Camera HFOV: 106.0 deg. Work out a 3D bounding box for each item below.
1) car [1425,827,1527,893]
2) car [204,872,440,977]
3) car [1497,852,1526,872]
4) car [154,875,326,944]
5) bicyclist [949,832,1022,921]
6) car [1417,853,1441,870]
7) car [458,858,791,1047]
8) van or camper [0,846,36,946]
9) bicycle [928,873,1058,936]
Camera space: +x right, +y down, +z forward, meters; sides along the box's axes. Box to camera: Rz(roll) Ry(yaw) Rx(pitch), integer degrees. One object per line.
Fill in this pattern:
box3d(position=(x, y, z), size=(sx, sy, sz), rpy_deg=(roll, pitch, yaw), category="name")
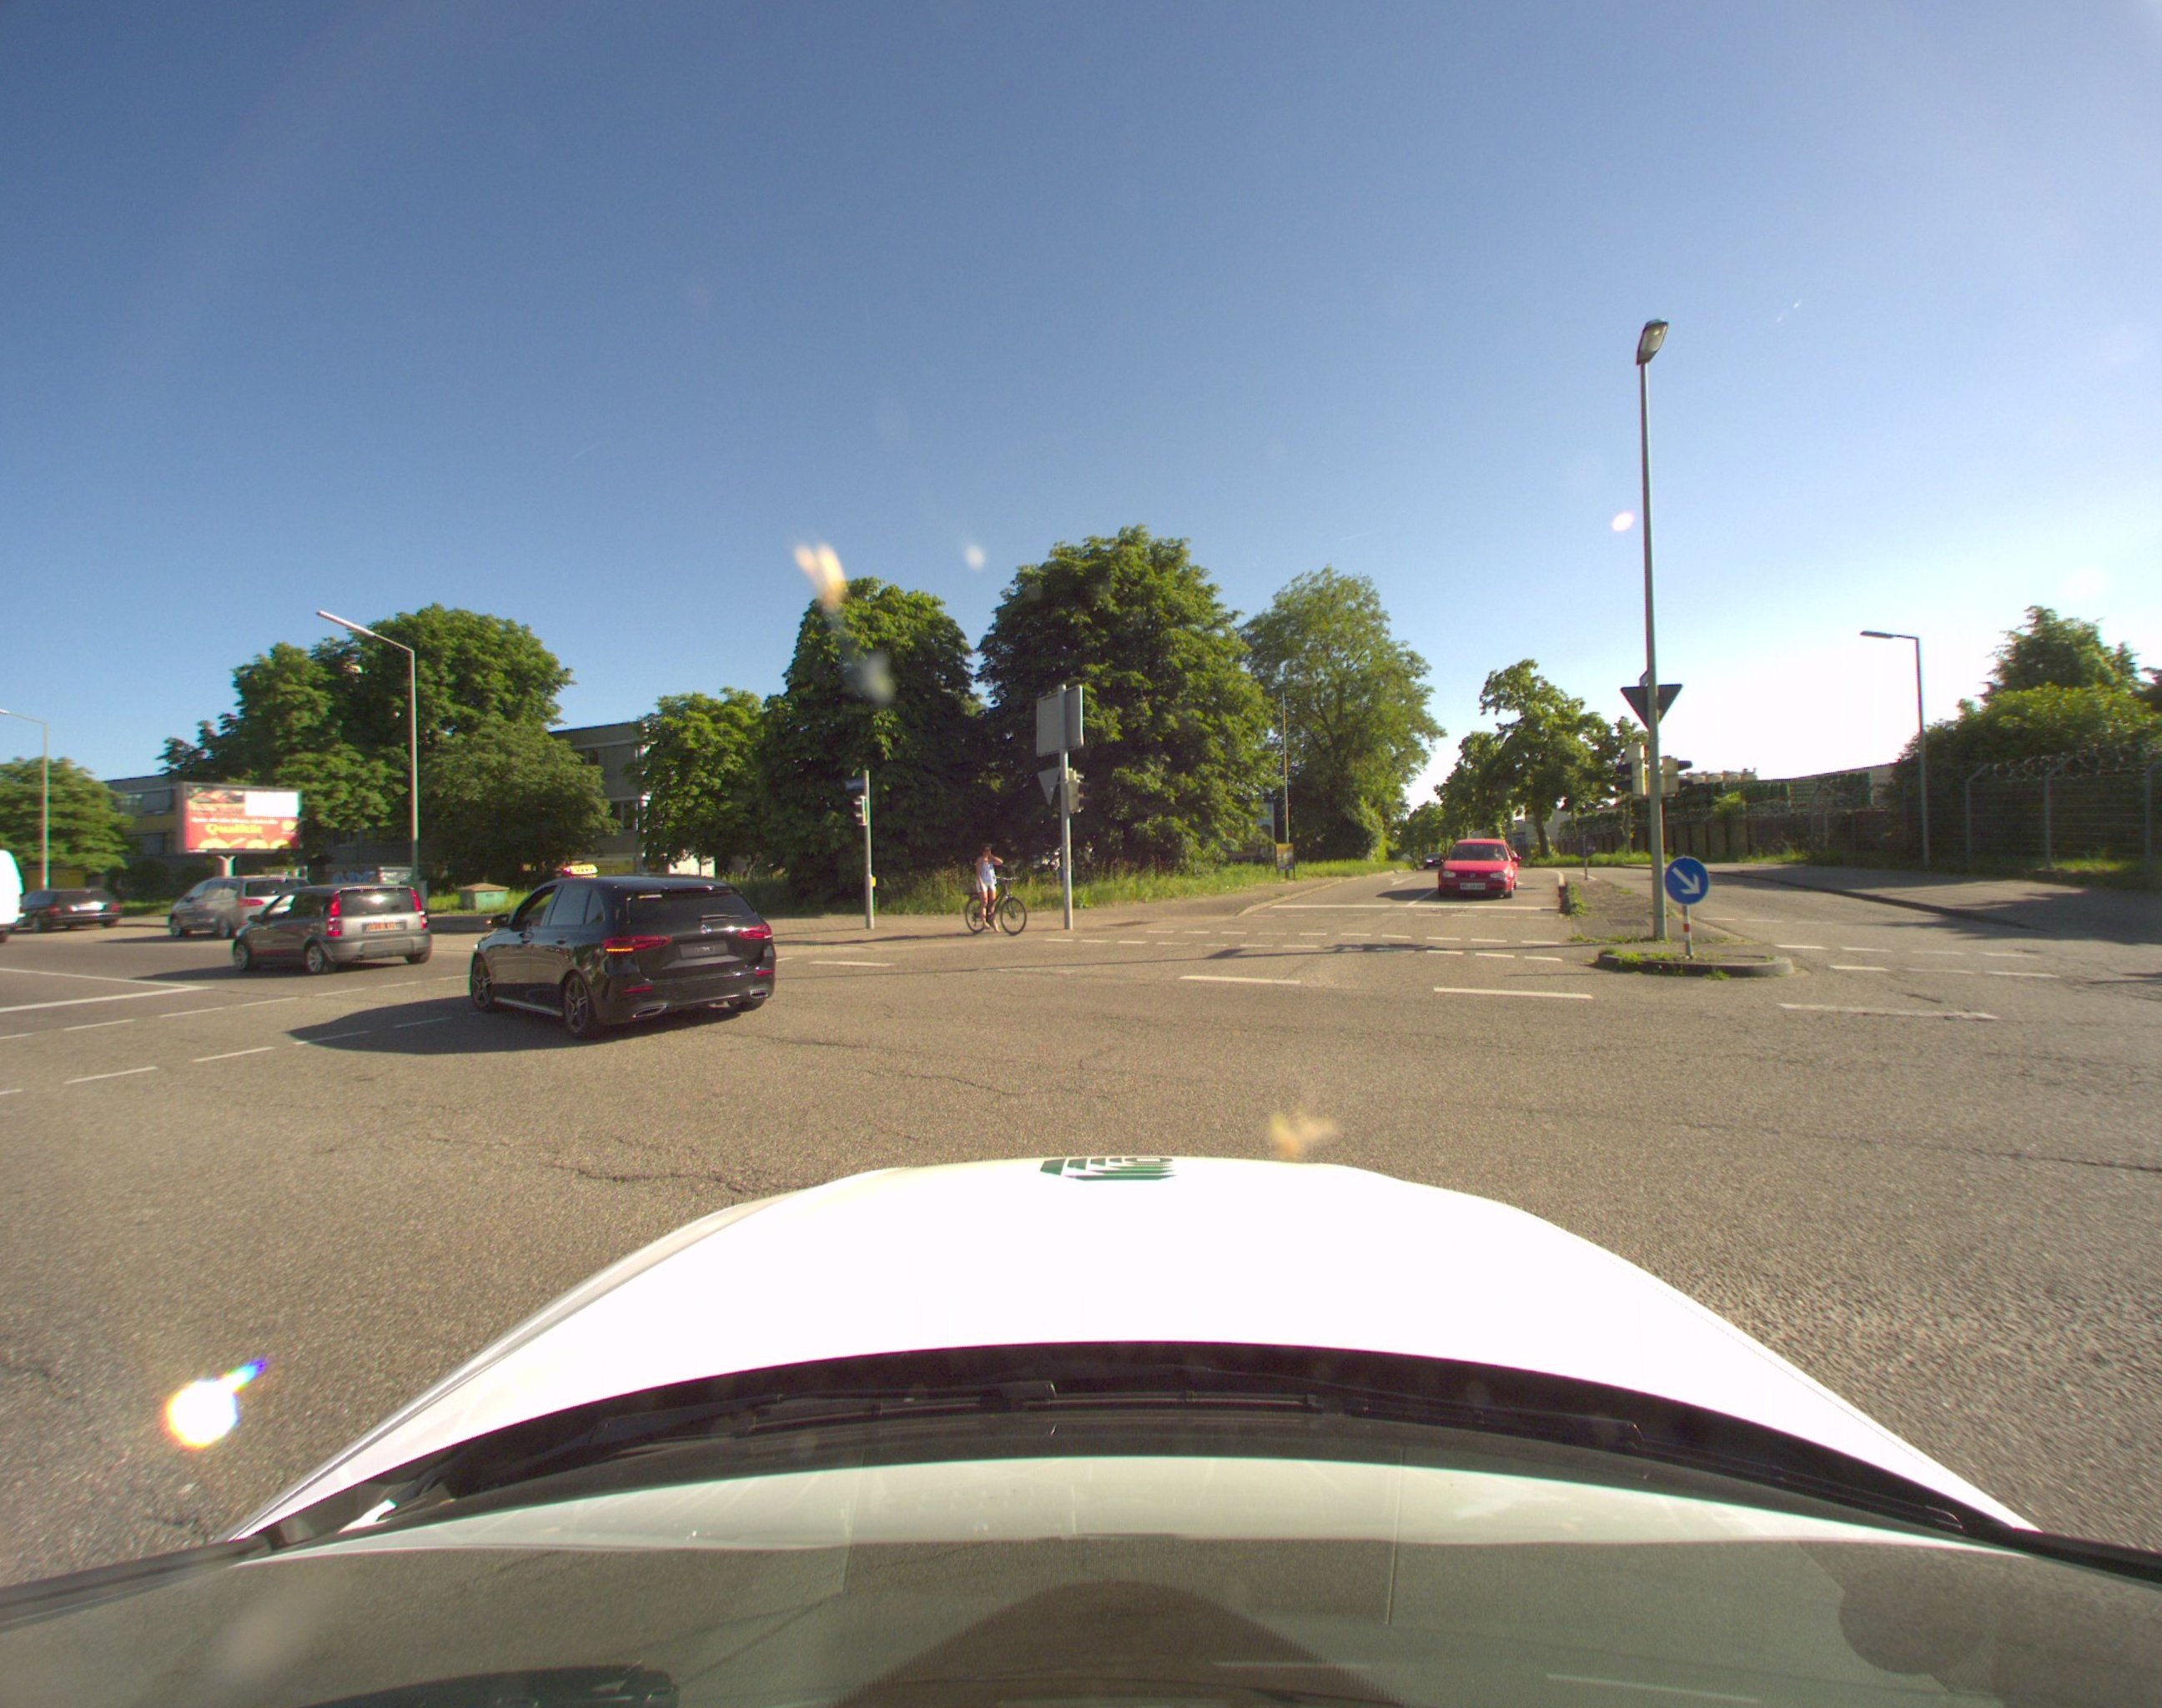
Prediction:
box3d(position=(10.504, 0.108, 21.488), size=(1.839, 1.469, 4.166), rpy_deg=(-2, 2, 33), category="car")
box3d(position=(-13.717, 1.224, 14.702), size=(3.950, 1.640, 1.821), rpy_deg=(-2, -1, 26), category="car")
box3d(position=(37.228, 0.672, 70.441), size=(1.675, 1.632, 3.145), rpy_deg=(-2, -1, 18), category="car")
box3d(position=(-24.251, 1.572, 23.476), size=(4.556, 1.722, 1.890), rpy_deg=(-2, 1, 24), category="car")
box3d(position=(-1.908, 0.441, 16.191), size=(1.175, 1.693, 0.897), rpy_deg=(-2, -1, 45), category="bicyclist")
box3d(position=(31.643, 0.681, 74.045), size=(1.841, 1.470, 4.160), rpy_deg=(-2, -1, 21), category="car")
box3d(position=(-5.095, 0.908, 8.893), size=(3.937, 1.593, 1.787), rpy_deg=(-2, -1, 38), category="car")
box3d(position=(-33.061, 1.209, 23.277), size=(6.993, 2.739, 2.246), rpy_deg=(-1, -1, 24), category="van or camper")
box3d(position=(-1.796, 0.944, 16.071), size=(0.908, 1.125, 2.916), rpy_deg=(0, -1, -45), category="bicycle")
